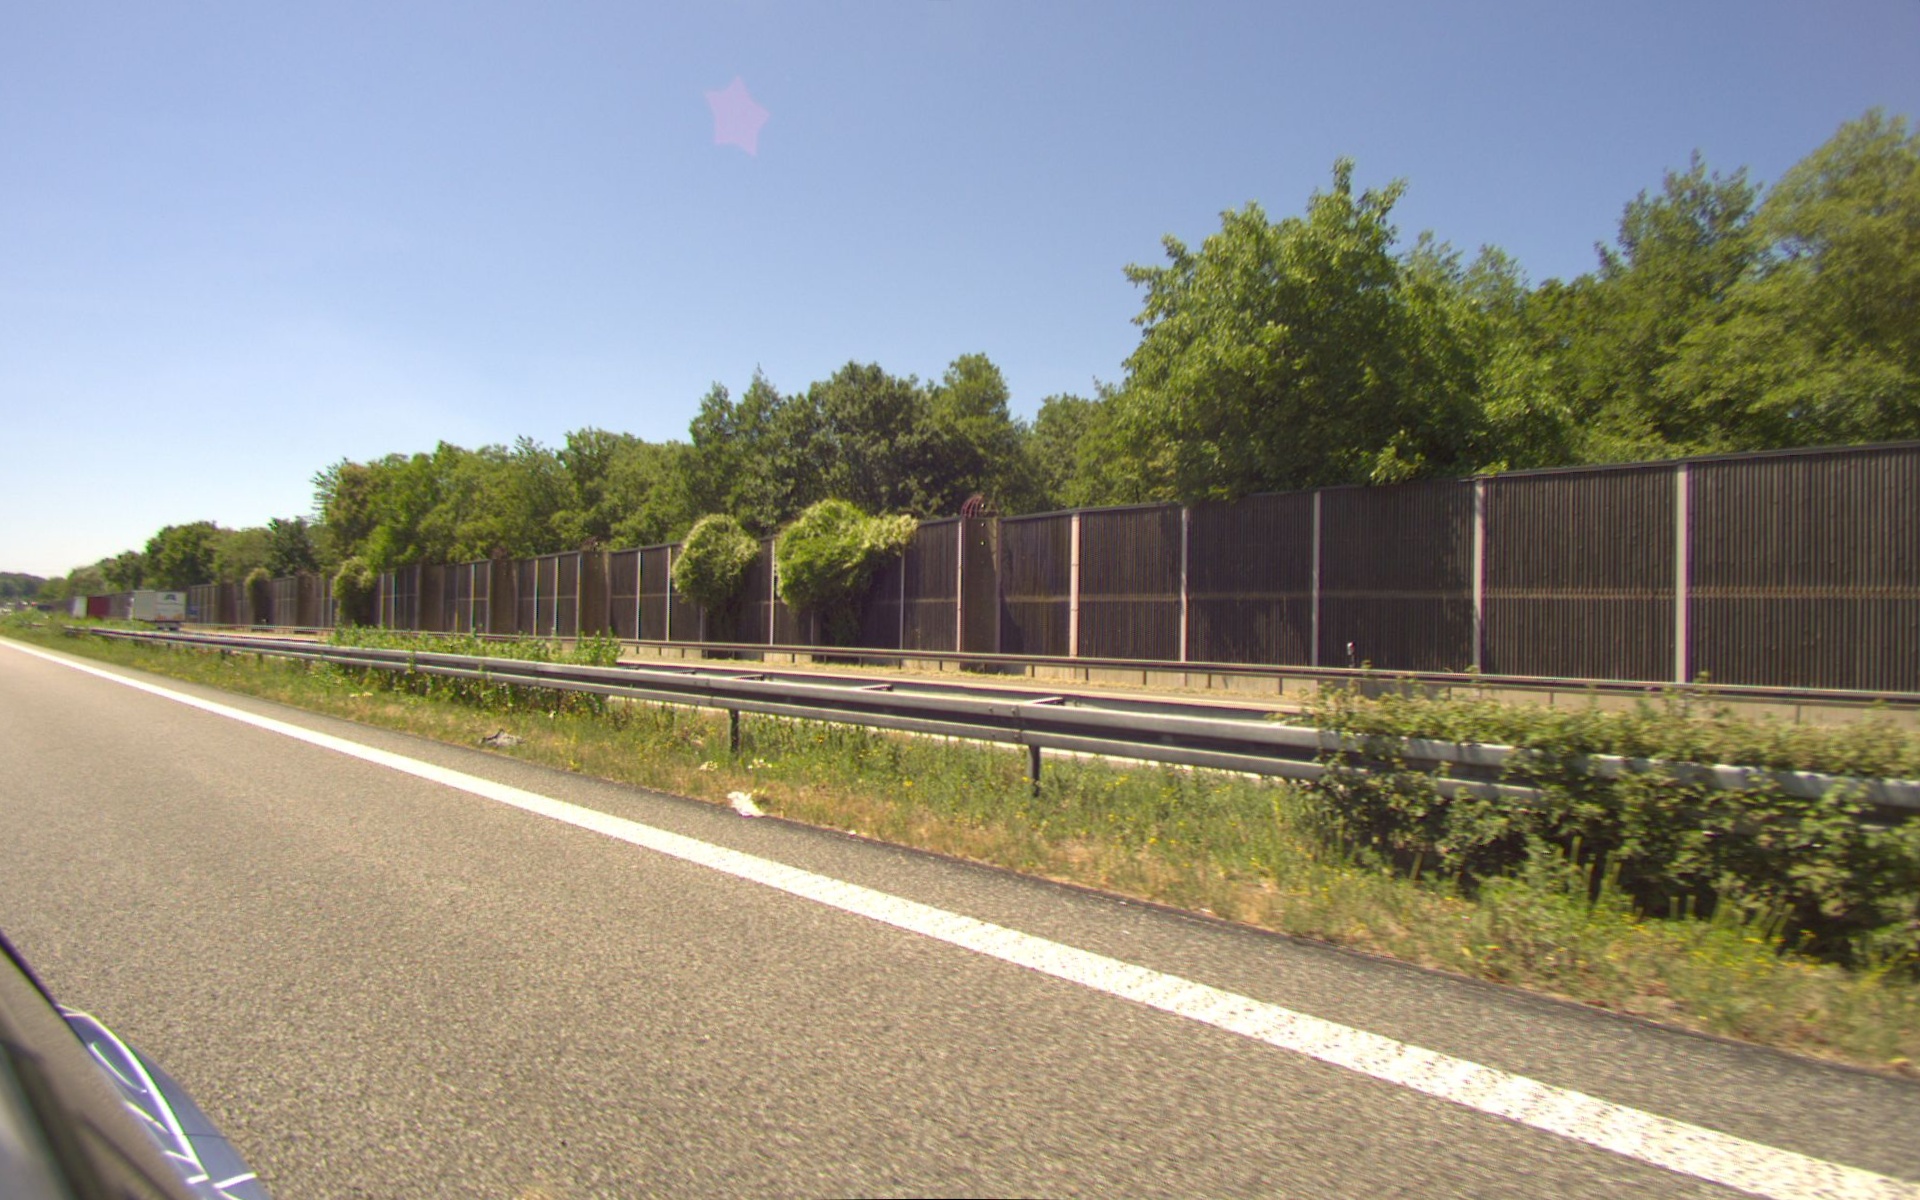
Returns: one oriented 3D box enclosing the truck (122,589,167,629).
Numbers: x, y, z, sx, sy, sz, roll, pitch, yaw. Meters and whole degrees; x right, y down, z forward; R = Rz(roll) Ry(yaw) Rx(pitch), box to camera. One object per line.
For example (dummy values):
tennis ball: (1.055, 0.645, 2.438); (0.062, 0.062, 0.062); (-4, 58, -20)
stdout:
truck: (-88.851, 1.004, 110.235); (7.142, 4.215, 2.802); (-1, -2, 43)

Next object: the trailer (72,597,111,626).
trailer: (-126.544, 1.651, 147.395); (14.305, 4.052, 2.705); (-1, -2, 43)

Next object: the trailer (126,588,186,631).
trailer: (-84.161, 0.993, 105.854); (13.312, 4.215, 2.878); (-1, -2, 43)
